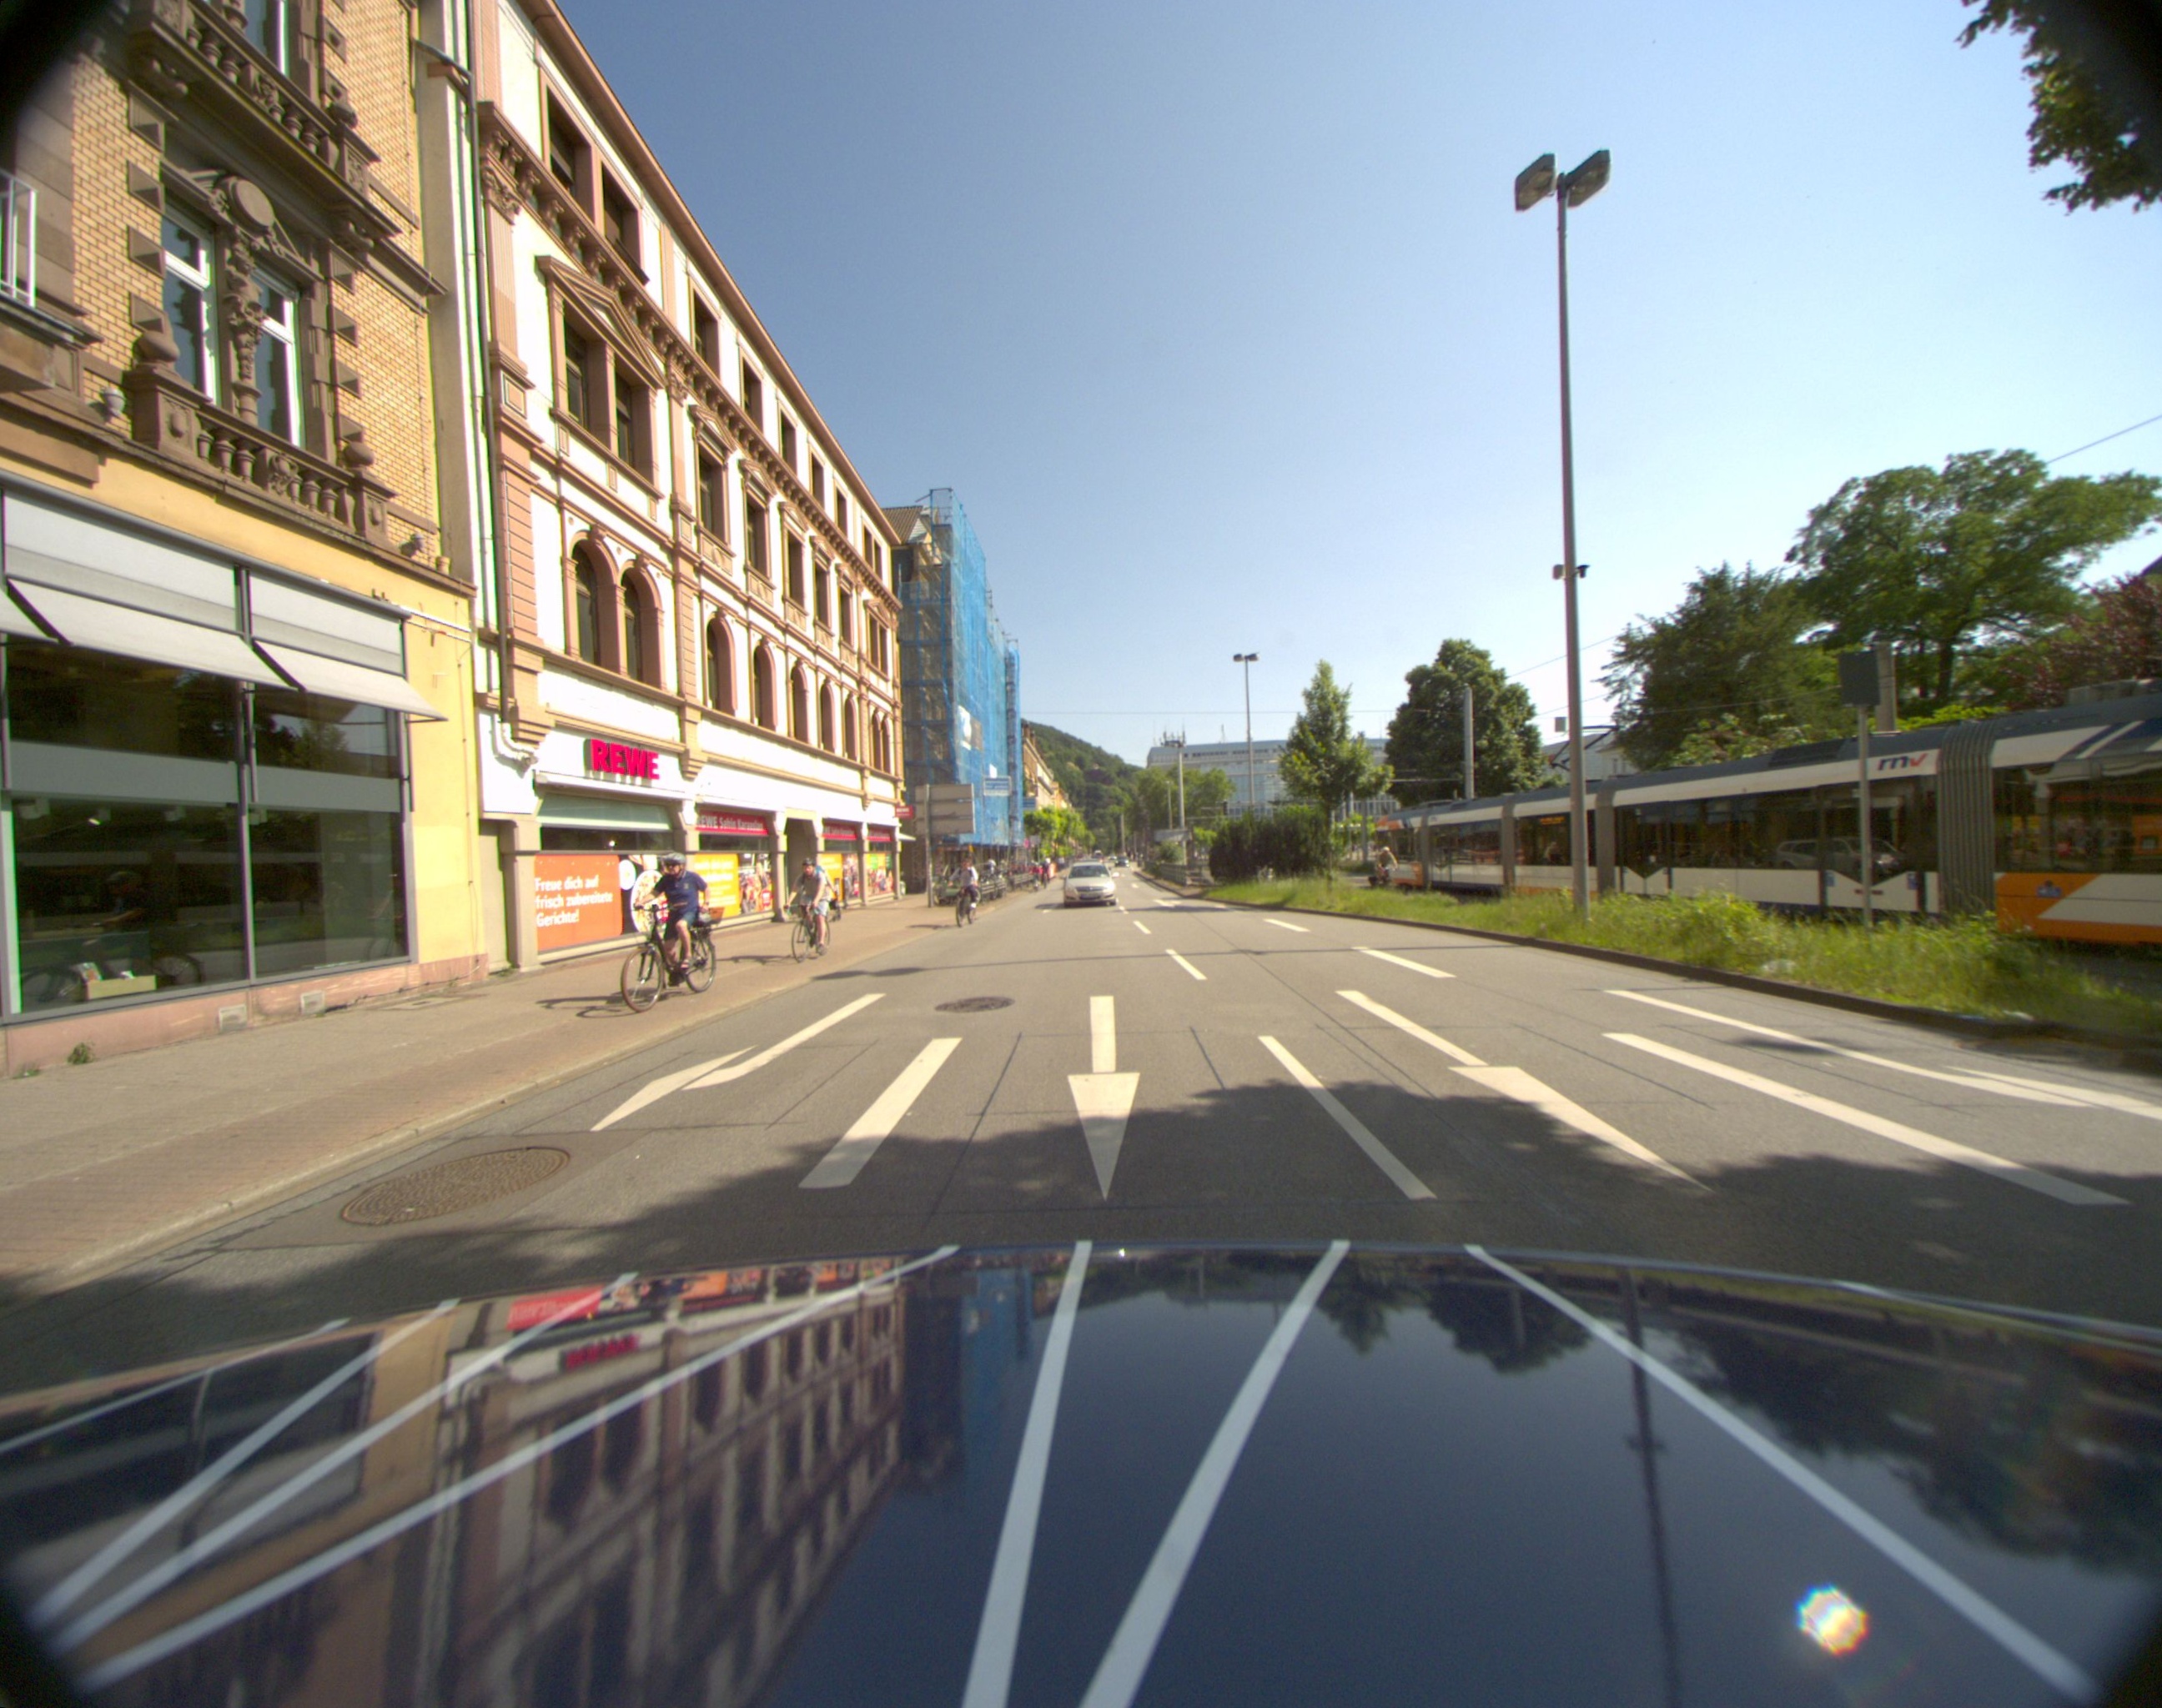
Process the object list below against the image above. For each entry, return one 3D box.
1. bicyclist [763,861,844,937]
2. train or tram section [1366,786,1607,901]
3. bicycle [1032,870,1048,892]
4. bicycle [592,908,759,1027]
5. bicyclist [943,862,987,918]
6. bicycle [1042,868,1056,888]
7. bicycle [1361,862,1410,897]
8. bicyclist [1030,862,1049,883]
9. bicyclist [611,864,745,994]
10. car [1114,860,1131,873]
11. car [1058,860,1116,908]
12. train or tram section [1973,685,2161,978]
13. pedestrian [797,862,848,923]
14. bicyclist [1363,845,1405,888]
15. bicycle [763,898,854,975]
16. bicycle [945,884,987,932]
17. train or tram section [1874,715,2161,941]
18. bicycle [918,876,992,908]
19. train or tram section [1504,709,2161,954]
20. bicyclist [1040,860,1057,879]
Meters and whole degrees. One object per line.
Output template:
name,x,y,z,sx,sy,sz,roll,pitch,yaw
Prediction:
bicyclist,-4.767,0.745,13.158,0.912,1.227,1.233,-1,0,0
train or tram section,14.410,-0.280,28.881,2.766,3.383,12.413,-1,0,1
bicycle,-2.147,1.390,39.898,0.643,1.076,2.496,-1,0,1
bicycle,-4.793,1.283,9.237,0.643,1.076,2.496,-1,0,1
bicyclist,-2.989,0.909,19.737,0.912,1.385,1.233,-1,0,0
bicycle,-1.884,1.391,44.915,0.643,1.076,2.496,-1,0,1
bicycle,10.290,0.829,25.786,0.643,1.077,2.496,-2,1,1
bicyclist,-2.169,0.954,39.930,0.912,1.062,1.233,-1,0,0
bicyclist,-4.792,0.855,9.143,0.912,1.428,1.233,-1,0,0
car,5.418,1.642,98.713,1.998,1.546,4.497,-1,0,1
car,0.212,0.969,26.238,1.802,1.492,4.497,-1,0,1
train or tram section,13.828,-0.306,7.630,2.767,3.383,5.887,-2,0,1
pedestrian,-7.044,1.016,20.762,0.912,1.591,1.233,-1,0,0
bicyclist,10.295,0.417,25.868,0.912,1.385,1.233,-1,0,0
bicycle,-4.648,1.364,13.168,0.643,1.076,2.496,-1,0,1
bicycle,-2.944,1.357,19.672,0.643,1.076,2.496,-1,0,1
train or tram section,17.203,-0.408,11.212,2.072,3.369,8.534,-1,0,0
bicycle,-4.485,1.356,27.125,2.493,1.076,0.644,-1,0,5
train or tram section,14.040,-0.281,16.844,2.766,3.383,12.413,-1,0,2
bicyclist,-1.922,0.918,44.686,0.912,1.076,1.233,-1,0,0
